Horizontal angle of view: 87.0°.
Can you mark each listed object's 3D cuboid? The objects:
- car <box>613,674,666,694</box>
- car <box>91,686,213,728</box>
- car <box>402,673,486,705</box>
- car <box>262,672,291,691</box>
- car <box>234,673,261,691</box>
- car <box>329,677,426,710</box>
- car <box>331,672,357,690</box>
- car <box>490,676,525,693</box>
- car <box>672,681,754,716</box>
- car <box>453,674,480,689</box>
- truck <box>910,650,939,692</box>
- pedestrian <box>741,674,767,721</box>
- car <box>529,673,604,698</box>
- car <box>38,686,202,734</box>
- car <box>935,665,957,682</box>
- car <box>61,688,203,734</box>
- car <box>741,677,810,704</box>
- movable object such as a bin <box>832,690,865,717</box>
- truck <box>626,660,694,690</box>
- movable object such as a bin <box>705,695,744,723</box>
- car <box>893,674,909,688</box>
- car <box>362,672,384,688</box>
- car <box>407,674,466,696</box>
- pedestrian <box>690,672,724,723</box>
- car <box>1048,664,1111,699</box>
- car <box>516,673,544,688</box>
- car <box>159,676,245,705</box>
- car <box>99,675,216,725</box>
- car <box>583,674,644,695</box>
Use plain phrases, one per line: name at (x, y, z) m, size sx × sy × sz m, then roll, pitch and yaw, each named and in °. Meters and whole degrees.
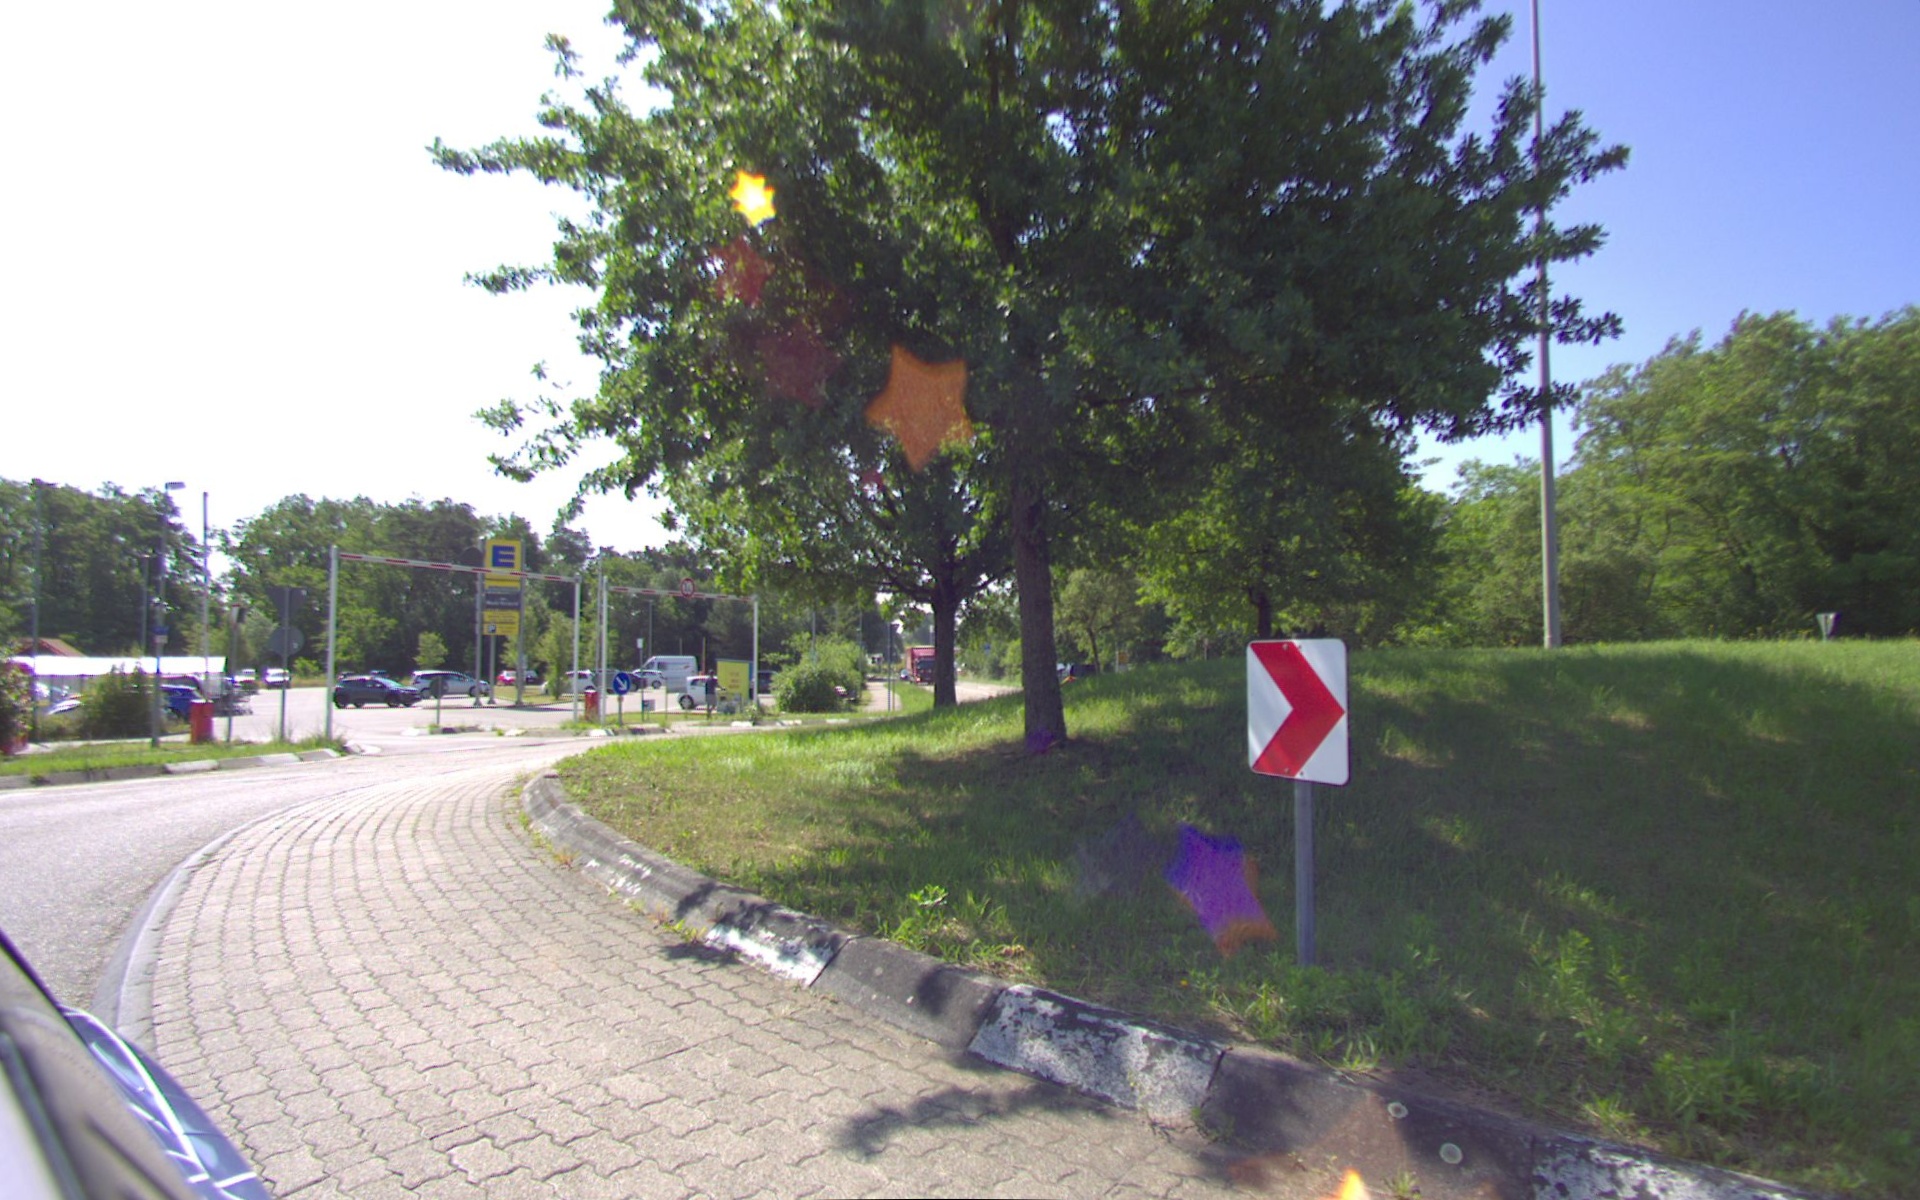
car at (-25.227, 6.618, 79.832) m, size 3.907 × 1.464 × 1.910 m, roll 1°, pitch -4°, yaw -15°
car at (-32.041, 4.222, 40.242) m, size 3.432 × 1.509 × 1.721 m, roll 1°, pitch -5°, yaw -25°
car at (-32.249, 5.511, 63.271) m, size 4.483 × 1.715 × 2.005 m, roll 0°, pitch -3°, yaw -32°
car at (-62.516, 7.424, 92.608) m, size 2.036 × 1.724 × 4.011 m, roll 2°, pitch -5°, yaw -32°
car at (-64.277, 7.360, 91.332) m, size 1.765 × 1.608 × 4.272 m, roll 3°, pitch -5°, yaw -33°
car at (-29.508, 4.735, 51.353) m, size 3.937 × 1.601 × 1.664 m, roll 0°, pitch -4°, yaw -8°
car at (-58.424, 7.681, 96.003) m, size 2.036 × 1.724 × 4.011 m, roll 2°, pitch -5°, yaw -32°
car at (-40.790, 7.601, 91.108) m, size 1.967 × 1.477 × 4.505 m, roll 3°, pitch -5°, yaw -36°
car at (-11.565, 4.618, 47.585) m, size 3.549 × 1.574 × 1.816 m, roll 1°, pitch -4°, yaw -7°
car at (-49.649, 8.214, 101.848) m, size 2.036 × 1.497 × 4.011 m, roll 2°, pitch -5°, yaw -32°
truck at (-3.390, 6.772, 96.549) m, size 2.682 × 3.945 × 5.953 m, roll 0°, pitch -4°, yaw -3°
pedestrian at (-7.310, 3.463, 35.950) m, size 0.700 × 1.661 × 0.591 m, roll -3°, pitch -5°, yaw 27°
car at (-23.723, 5.166, 61.077) m, size 3.938 × 1.453 × 1.653 m, roll 0°, pitch -4°, yaw -6°
car at (-30.853, 4.010, 37.338) m, size 4.351 × 1.583 × 1.721 m, roll 1°, pitch -5°, yaw -28°
car at (-1.523, 7.820, 107.835) m, size 1.870 × 1.830 × 4.601 m, roll 0°, pitch -4°, yaw -6°
car at (-28.549, 3.806, 35.014) m, size 3.432 × 1.469 × 1.721 m, roll 1°, pitch -5°, yaw -25°
car at (-11.484, 5.636, 63.241) m, size 4.070 × 1.640 × 1.753 m, roll 0°, pitch -4°, yaw -4°
movable object such as a bin at (-4.869, 4.507, 44.226) m, size 0.865 × 1.129 × 1.444 m, roll -3°, pitch -4°, yaw 22°
truck at (-26.727, 6.685, 90.412) m, size 5.530 × 2.625 × 2.206 m, roll 0°, pitch -4°, yaw -6°
movable object such as a bin at (-8.597, 3.978, 36.920) m, size 0.874 × 0.962 × 1.195 m, roll -2°, pitch -5°, yaw 22°
car at (-6.921, 9.479, 118.413) m, size 1.799 × 1.619 × 3.533 m, roll 0°, pitch -4°, yaw -5°
car at (-56.332, 7.672, 97.072) m, size 1.634 × 1.497 × 4.385 m, roll 2°, pitch -5°, yaw -31°
car at (-40.099, 6.470, 77.582) m, size 3.931 × 1.597 × 1.977 m, roll 2°, pitch -5°, yaw -28°
pedestrian at (-9.001, 3.460, 36.015) m, size 0.875 × 1.799 × 0.836 m, roll -3°, pitch -5°, yaw 23°
car at (6.349, 4.368, 54.359) m, size 2.067 × 1.728 × 4.727 m, roll 0°, pitch -4°, yaw -10°
car at (-44.494, 8.305, 104.653) m, size 2.036 × 1.497 × 4.011 m, roll 2°, pitch -5°, yaw -32°
car at (-47.055, 5.612, 62.957) m, size 3.931 × 1.675 × 2.006 m, roll 1°, pitch -5°, yaw -27°
car at (-33.461, 4.158, 42.320) m, size 3.432 × 1.944 × 1.884 m, roll 1°, pitch -5°, yaw -25°
car at (-24.491, 5.992, 71.609) m, size 3.933 × 1.438 × 1.753 m, roll 1°, pitch -4°, yaw -12°
